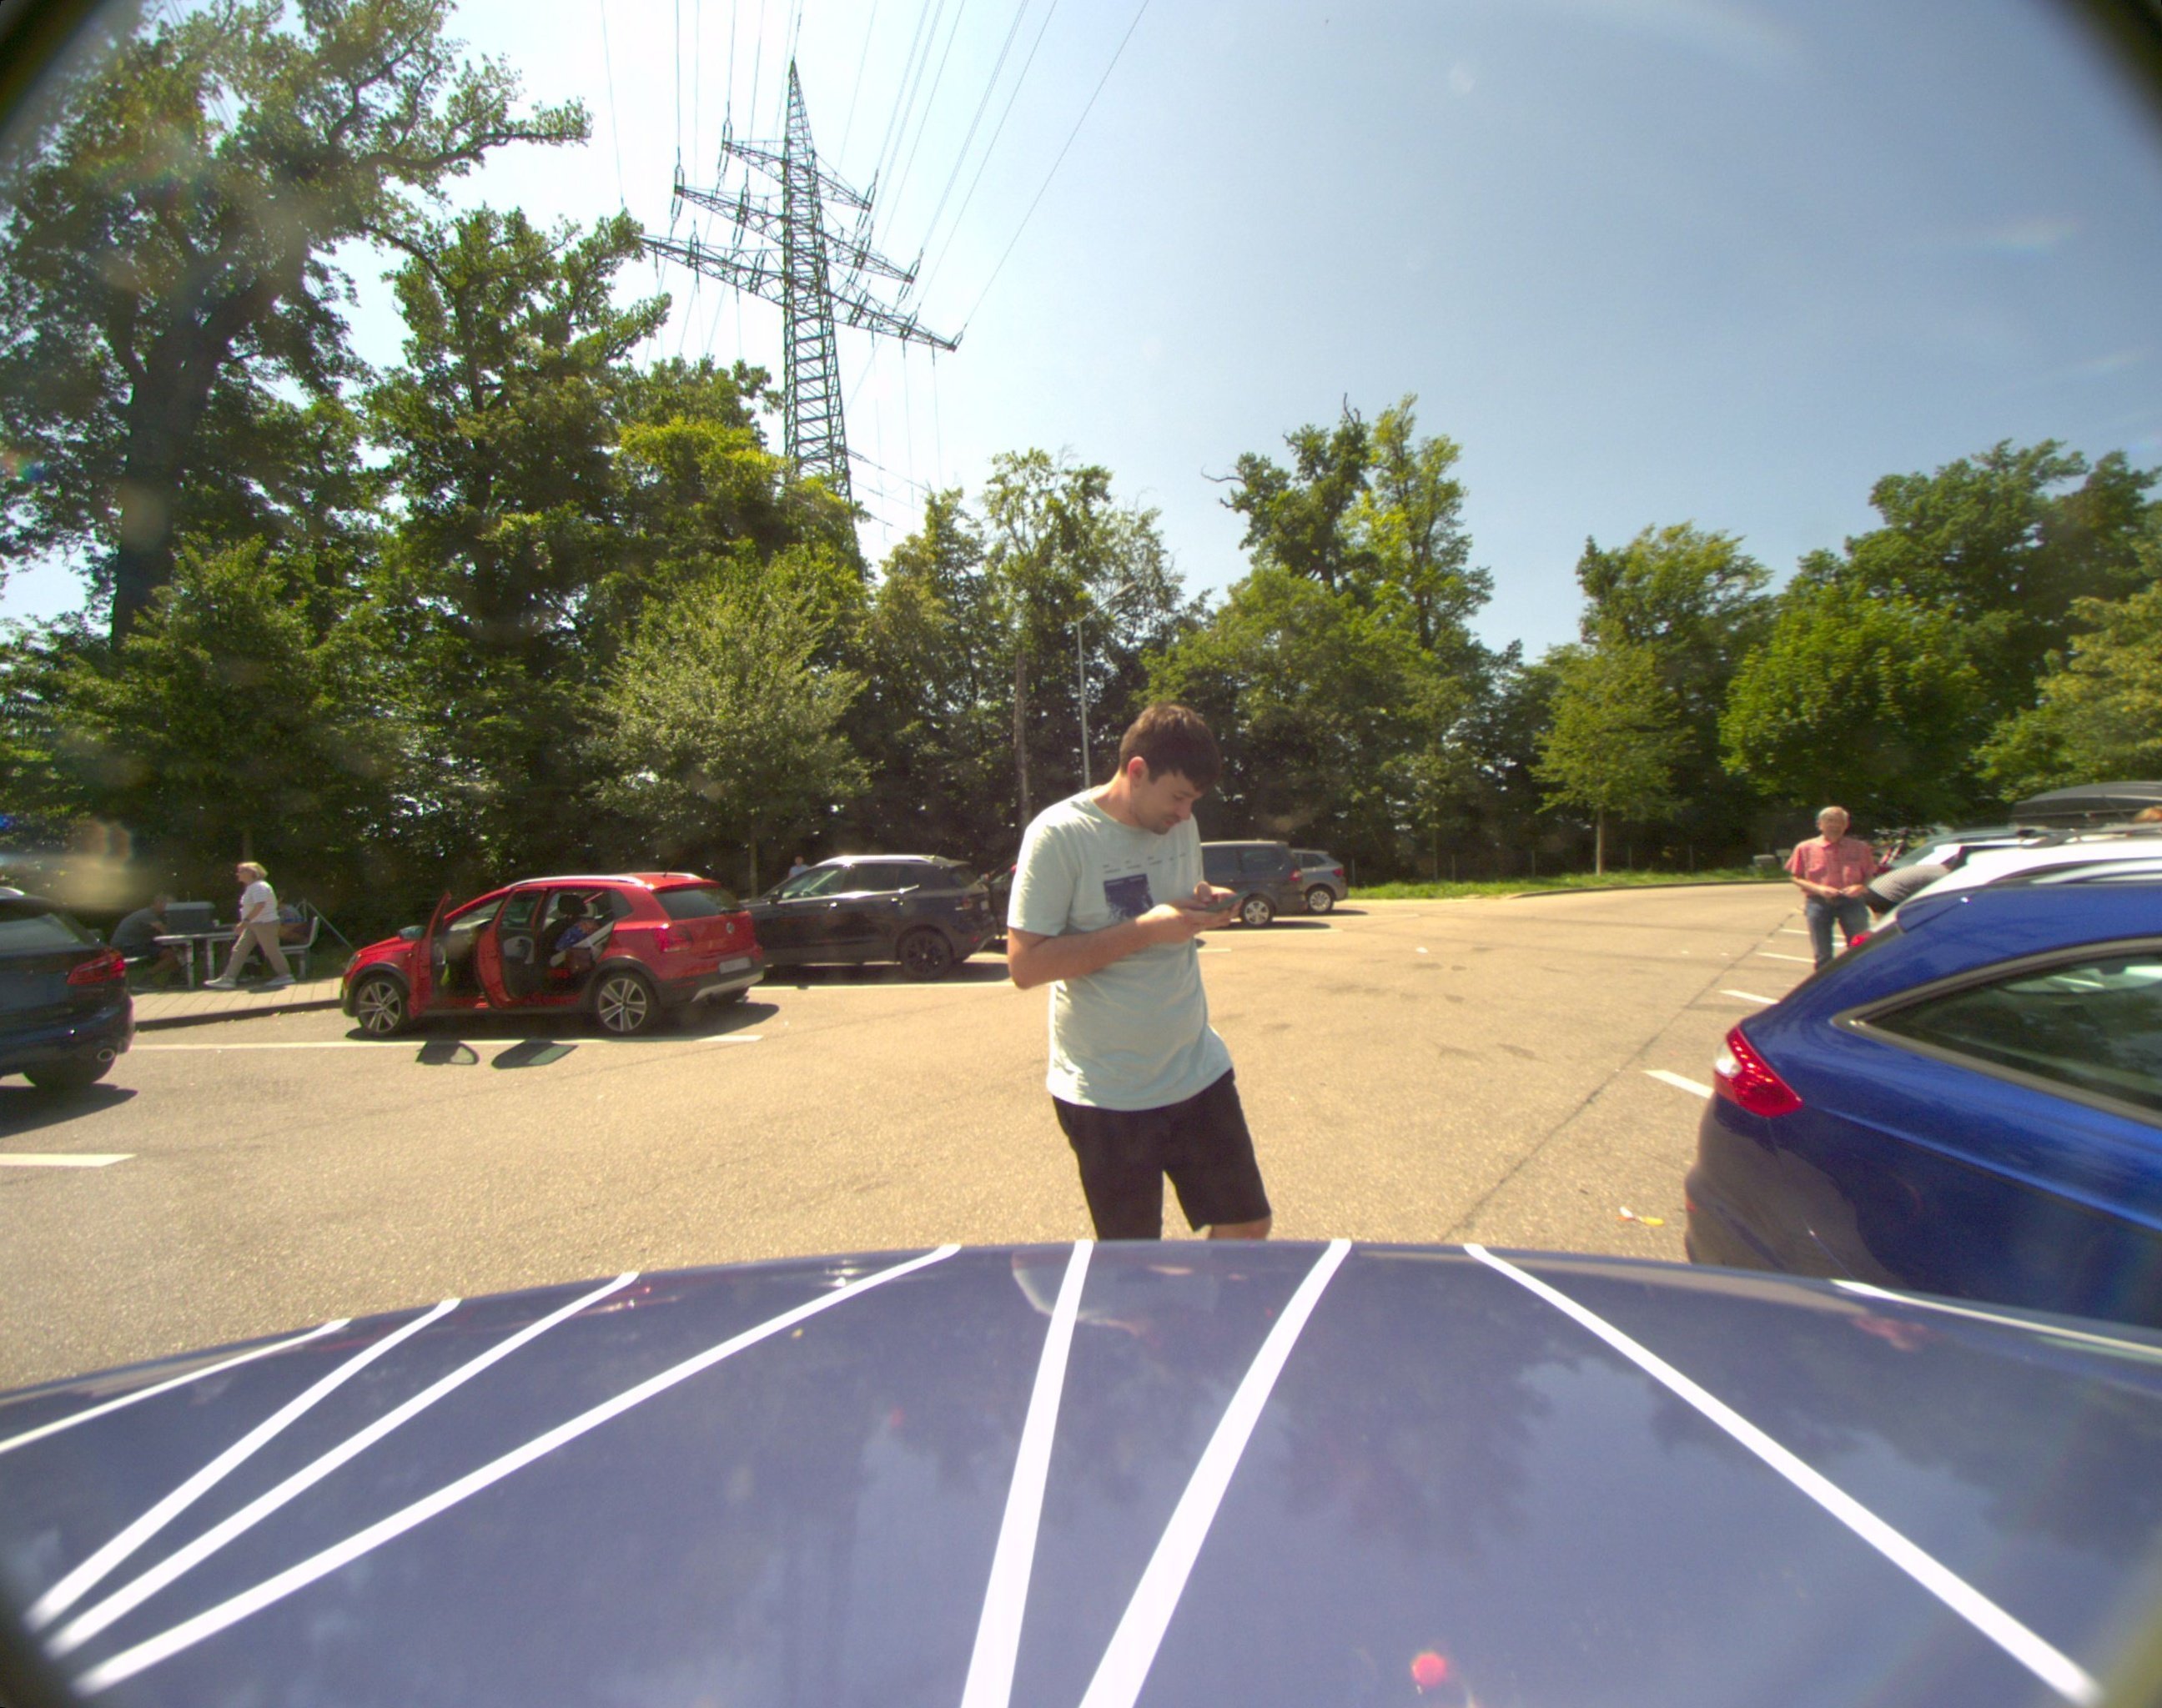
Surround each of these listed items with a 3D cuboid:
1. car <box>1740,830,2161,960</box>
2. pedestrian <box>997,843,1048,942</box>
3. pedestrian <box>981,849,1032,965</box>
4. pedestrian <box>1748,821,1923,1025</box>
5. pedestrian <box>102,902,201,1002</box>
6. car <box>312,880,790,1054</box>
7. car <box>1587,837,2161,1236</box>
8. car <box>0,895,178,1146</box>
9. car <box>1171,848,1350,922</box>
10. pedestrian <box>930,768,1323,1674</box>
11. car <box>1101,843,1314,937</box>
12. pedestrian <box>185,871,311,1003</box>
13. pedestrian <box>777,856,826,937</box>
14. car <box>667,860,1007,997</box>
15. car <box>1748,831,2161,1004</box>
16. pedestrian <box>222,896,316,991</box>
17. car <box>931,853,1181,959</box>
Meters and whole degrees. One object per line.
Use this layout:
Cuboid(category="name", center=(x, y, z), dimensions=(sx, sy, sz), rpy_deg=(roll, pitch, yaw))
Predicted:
Cuboid(category="car", center=(12.362, 0.482, 10.956), dimensions=(1.779, 1.456, 4.470), rpy_deg=(-2, -1, 0))
Cuboid(category="pedestrian", center=(-1.145, 0.725, 14.797), dimensions=(0.682, 1.854, 0.713), rpy_deg=(-2, 0, -30))
Cuboid(category="pedestrian", center=(-1.146, 0.806, 11.849), dimensions=(0.660, 1.745, 0.636), rpy_deg=(-2, 0, 1))
Cuboid(category="pedestrian", center=(6.318, 0.550, 6.405), dimensions=(0.672, 1.592, 0.759), rpy_deg=(-2, 0, 1))
Cuboid(category="pedestrian", center=(-12.641, 1.307, 10.341), dimensions=(0.652, 1.262, 0.672), rpy_deg=(-2, 0, 24))
Cuboid(category="car", center=(-5.196, 1.077, 7.735), dimensions=(3.704, 1.448, 1.781), rpy_deg=(-2, 0, 7))
Cuboid(category="car", center=(4.850, 0.663, 3.658), dimensions=(1.779, 1.456, 4.470), rpy_deg=(-2, -1, 0))
Cuboid(category="car", center=(-8.922, 1.161, 5.017), dimensions=(4.011, 1.558, 1.846), rpy_deg=(-2, 0, 6))
Cuboid(category="car", center=(4.176, 0.718, 18.217), dimensions=(3.964, 1.577, 1.781), rpy_deg=(-2, 0, 7))
Cuboid(category="pedestrian", center=(0.089, 0.702, 1.733), dimensions=(0.687, 1.699, 0.578), rpy_deg=(-2, 0, 1))
Cuboid(category="car", center=(2.506, 0.702, 15.465), dimensions=(3.964, 1.678, 1.781), rpy_deg=(-2, 0, 7))
Cuboid(category="pedestrian", center=(-10.655, 1.030, 9.735), dimensions=(0.774, 1.584, 0.811), rpy_deg=(-2, 0, 19))
Cuboid(category="pedestrian", center=(-5.709, 0.846, 15.551), dimensions=(0.715, 1.584, 0.809), rpy_deg=(-2, 0, -7))
Cuboid(category="car", center=(-3.150, 0.943, 10.384), dimensions=(3.966, 1.582, 1.841), rpy_deg=(-2, 0, 3))
Cuboid(category="car", center=(10.060, 0.538, 8.172), dimensions=(1.779, 1.456, 4.470), rpy_deg=(-2, -1, 0))
Cuboid(category="pedestrian", center=(-11.816, 1.279, 11.067), dimensions=(0.828, 1.287, 0.672), rpy_deg=(-2, 0, 24))
Cuboid(category="car", center=(-0.330, 0.845, 12.973), dimensions=(3.964, 1.582, 1.781), rpy_deg=(-2, 0, 8))
